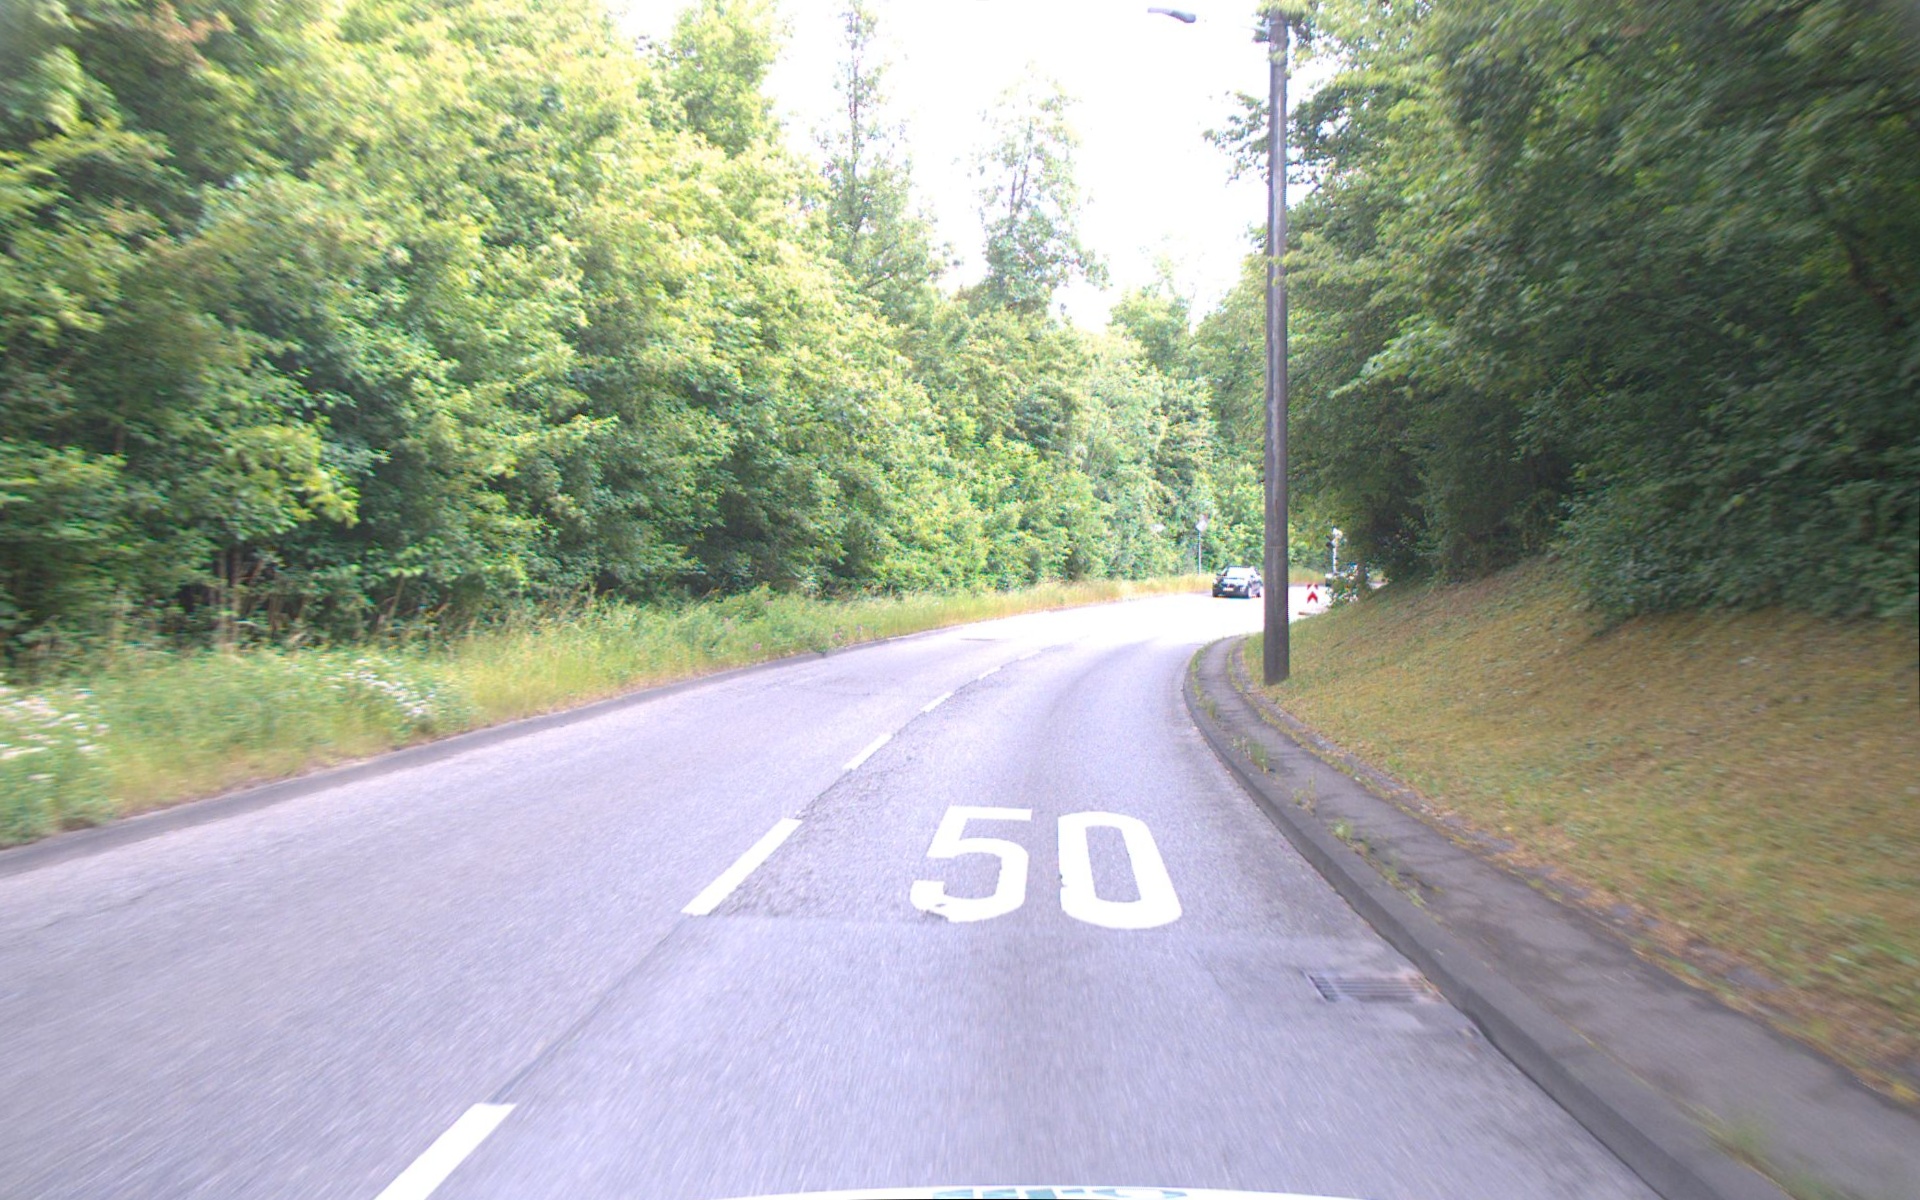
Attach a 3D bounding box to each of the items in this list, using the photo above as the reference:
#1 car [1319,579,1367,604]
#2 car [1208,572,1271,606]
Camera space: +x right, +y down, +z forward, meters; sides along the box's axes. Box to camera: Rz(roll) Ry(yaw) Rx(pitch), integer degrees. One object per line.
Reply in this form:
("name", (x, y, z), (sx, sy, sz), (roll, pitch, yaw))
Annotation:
("car", (23.480, -0.537, 101.280), (1.861, 1.377, 4.840), (4, 2, 24))
("car", (13.196, -0.530, 77.901), (1.767, 1.459, 4.658), (3, 2, 24))
